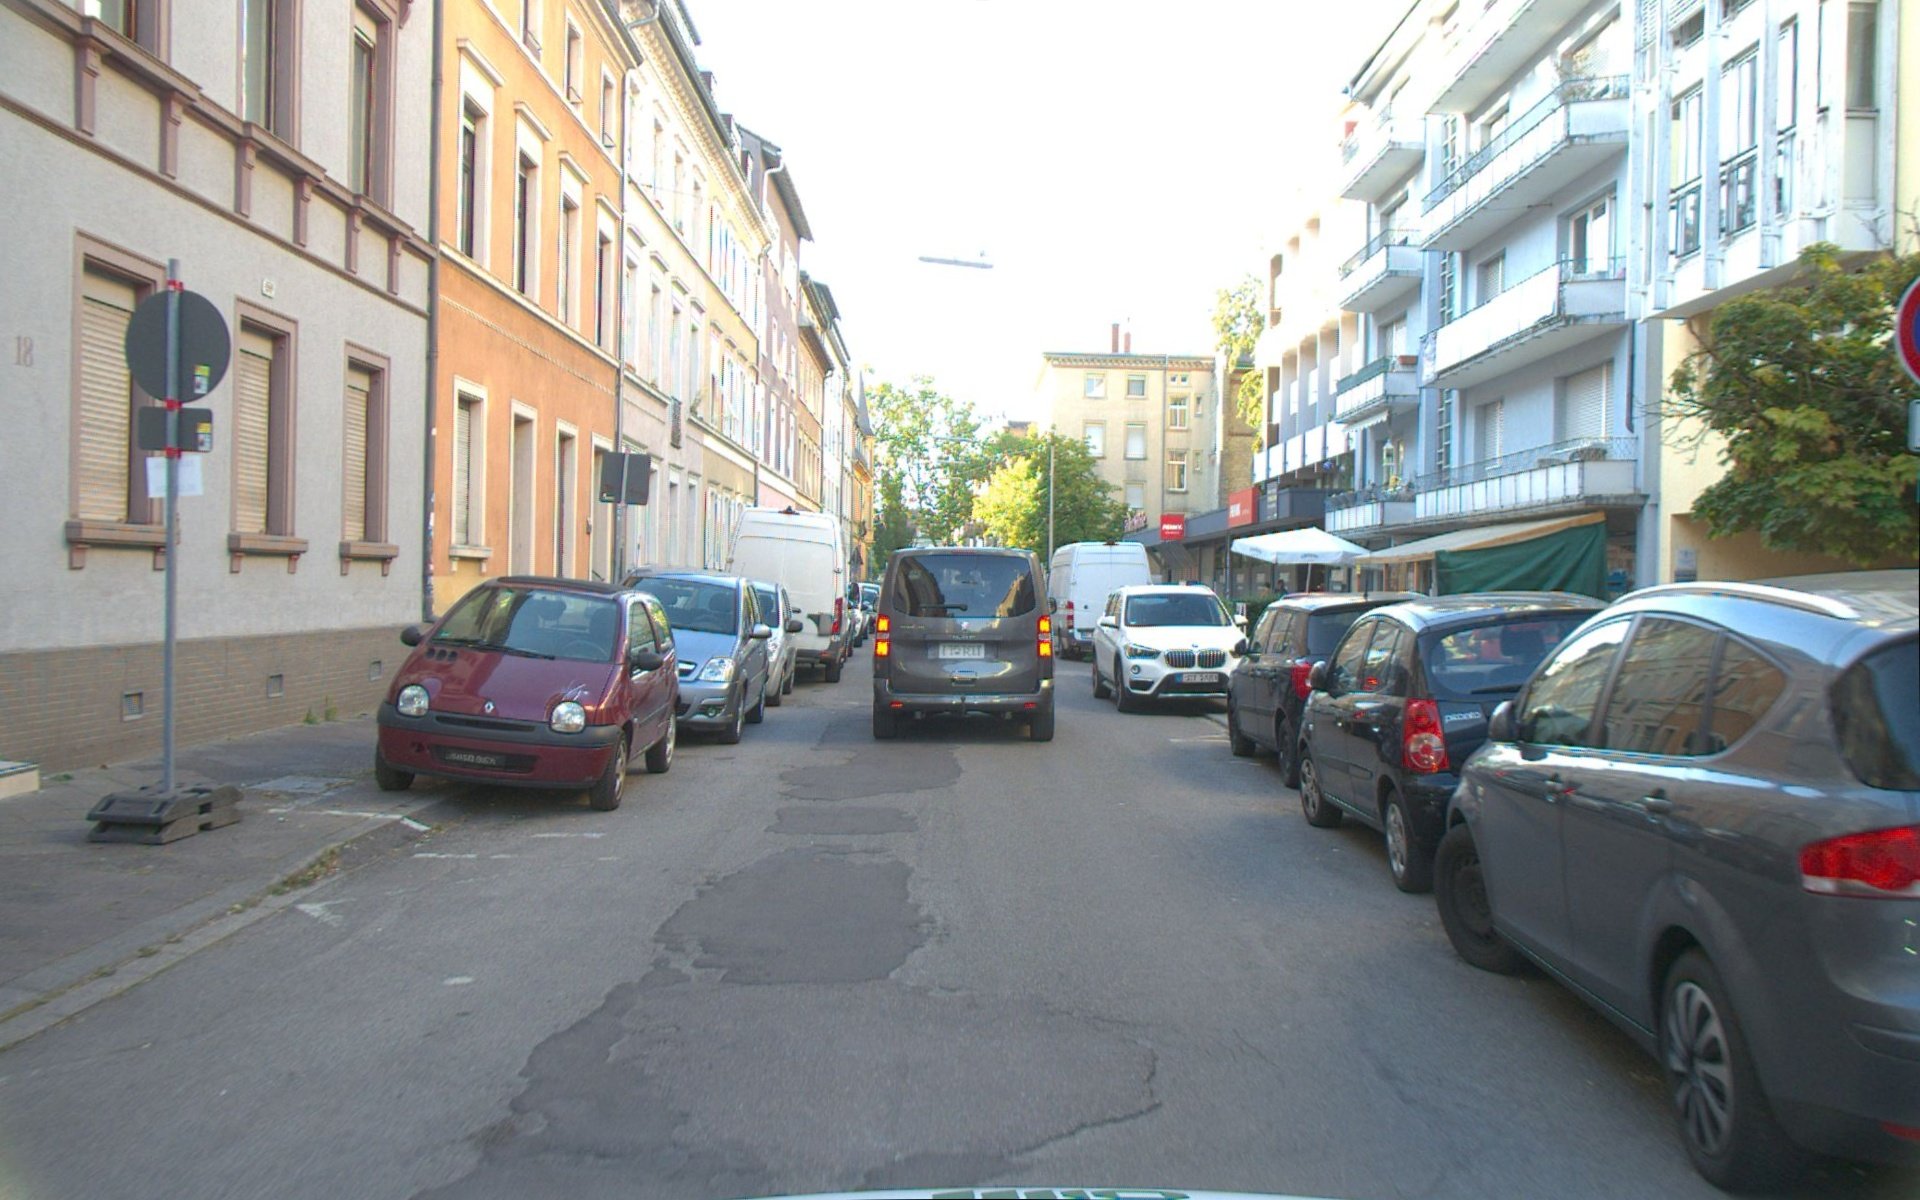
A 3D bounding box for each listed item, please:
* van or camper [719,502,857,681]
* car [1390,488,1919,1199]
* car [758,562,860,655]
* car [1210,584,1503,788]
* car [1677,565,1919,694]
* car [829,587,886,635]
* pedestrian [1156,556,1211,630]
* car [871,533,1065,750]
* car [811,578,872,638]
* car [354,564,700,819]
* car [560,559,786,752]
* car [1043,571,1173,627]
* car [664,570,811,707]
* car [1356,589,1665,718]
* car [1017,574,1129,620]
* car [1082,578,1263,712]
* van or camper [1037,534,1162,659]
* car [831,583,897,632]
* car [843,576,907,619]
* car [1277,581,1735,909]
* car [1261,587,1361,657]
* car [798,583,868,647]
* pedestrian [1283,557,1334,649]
[{"bbox_3d":[-2.835,-0.177,28.679,1.910,2.695,7.138,0,1,-2],"label":"van or camper"},{"bbox_3d":[2.885,0.621,5.662,1.713,1.712,4.527,2,1,2],"label":"car"},{"bbox_3d":[-3.119,0.134,34.832,1.826,1.781,4.292,1,1,-2],"label":"car"},{"bbox_3d":[3.353,0.643,14.741,1.587,1.512,4.124,-1,1,0],"label":"car"},{"bbox_3d":[12.364,0.383,22.869,4.026,1.688,1.998,0,1,-5],"label":"car"},{"bbox_3d":[-3.402,0.342,54.837,1.753,1.422,4.464,2,1,-4],"label":"car"},{"bbox_3d":[4.888,-0.154,36.222,0.859,1.583,0.869,-2,1,-22],"label":"pedestrian"},{"bbox_3d":[0.042,0.363,17.794,1.820,2.049,3.999,-1,1,-1],"label":"car"},{"bbox_3d":[-3.267,0.197,45.953,1.357,1.558,2.750,1,1,2],"label":"car"},{"bbox_3d":[-2.961,0.555,11.986,1.624,1.473,3.285,4,1,-2],"label":"car"},{"bbox_3d":[-2.846,0.480,17.222,1.677,1.672,3.978,3,1,-2],"label":"car"},{"bbox_3d":[5.358,-0.052,60.269,4.477,1.891,2.000,1,1,-2],"label":"car"},{"bbox_3d":[-2.998,0.465,22.888,1.558,1.715,3.652,1,1,-1],"label":"car"},{"bbox_3d":[7.829,0.742,23.732,3.817,1.635,1.694,2,0,-2],"label":"car"},{"bbox_3d":[4.848,-0.128,71.267,4.483,1.823,1.997,1,1,-8],"label":"car"},{"bbox_3d":[2.819,0.542,22.904,1.688,1.640,4.586,1,0,-3],"label":"car"},{"bbox_3d":[3.142,-0.124,38.953,2.057,2.647,7.510,0,1,-2],"label":"van or camper"},{"bbox_3d":[-3.421,0.239,59.742,1.952,1.633,4.586,1,1,1],"label":"car"},{"bbox_3d":[-3.320,-0.133,65.648,1.952,1.587,4.587,1,1,4],"label":"car"},{"bbox_3d":[3.076,0.701,10.090,1.588,1.585,3.694,1,1,1],"label":"car"},{"bbox_3d":[7.658,0.444,35.894,1.567,1.440,3.228,0,1,22],"label":"car"},{"bbox_3d":[-3.269,0.351,42.404,1.677,1.523,3.852,1,1,-5],"label":"car"},{"bbox_3d":[8.409,0.069,39.896,0.859,2.182,0.952,0,0,-17],"label":"pedestrian"}]
